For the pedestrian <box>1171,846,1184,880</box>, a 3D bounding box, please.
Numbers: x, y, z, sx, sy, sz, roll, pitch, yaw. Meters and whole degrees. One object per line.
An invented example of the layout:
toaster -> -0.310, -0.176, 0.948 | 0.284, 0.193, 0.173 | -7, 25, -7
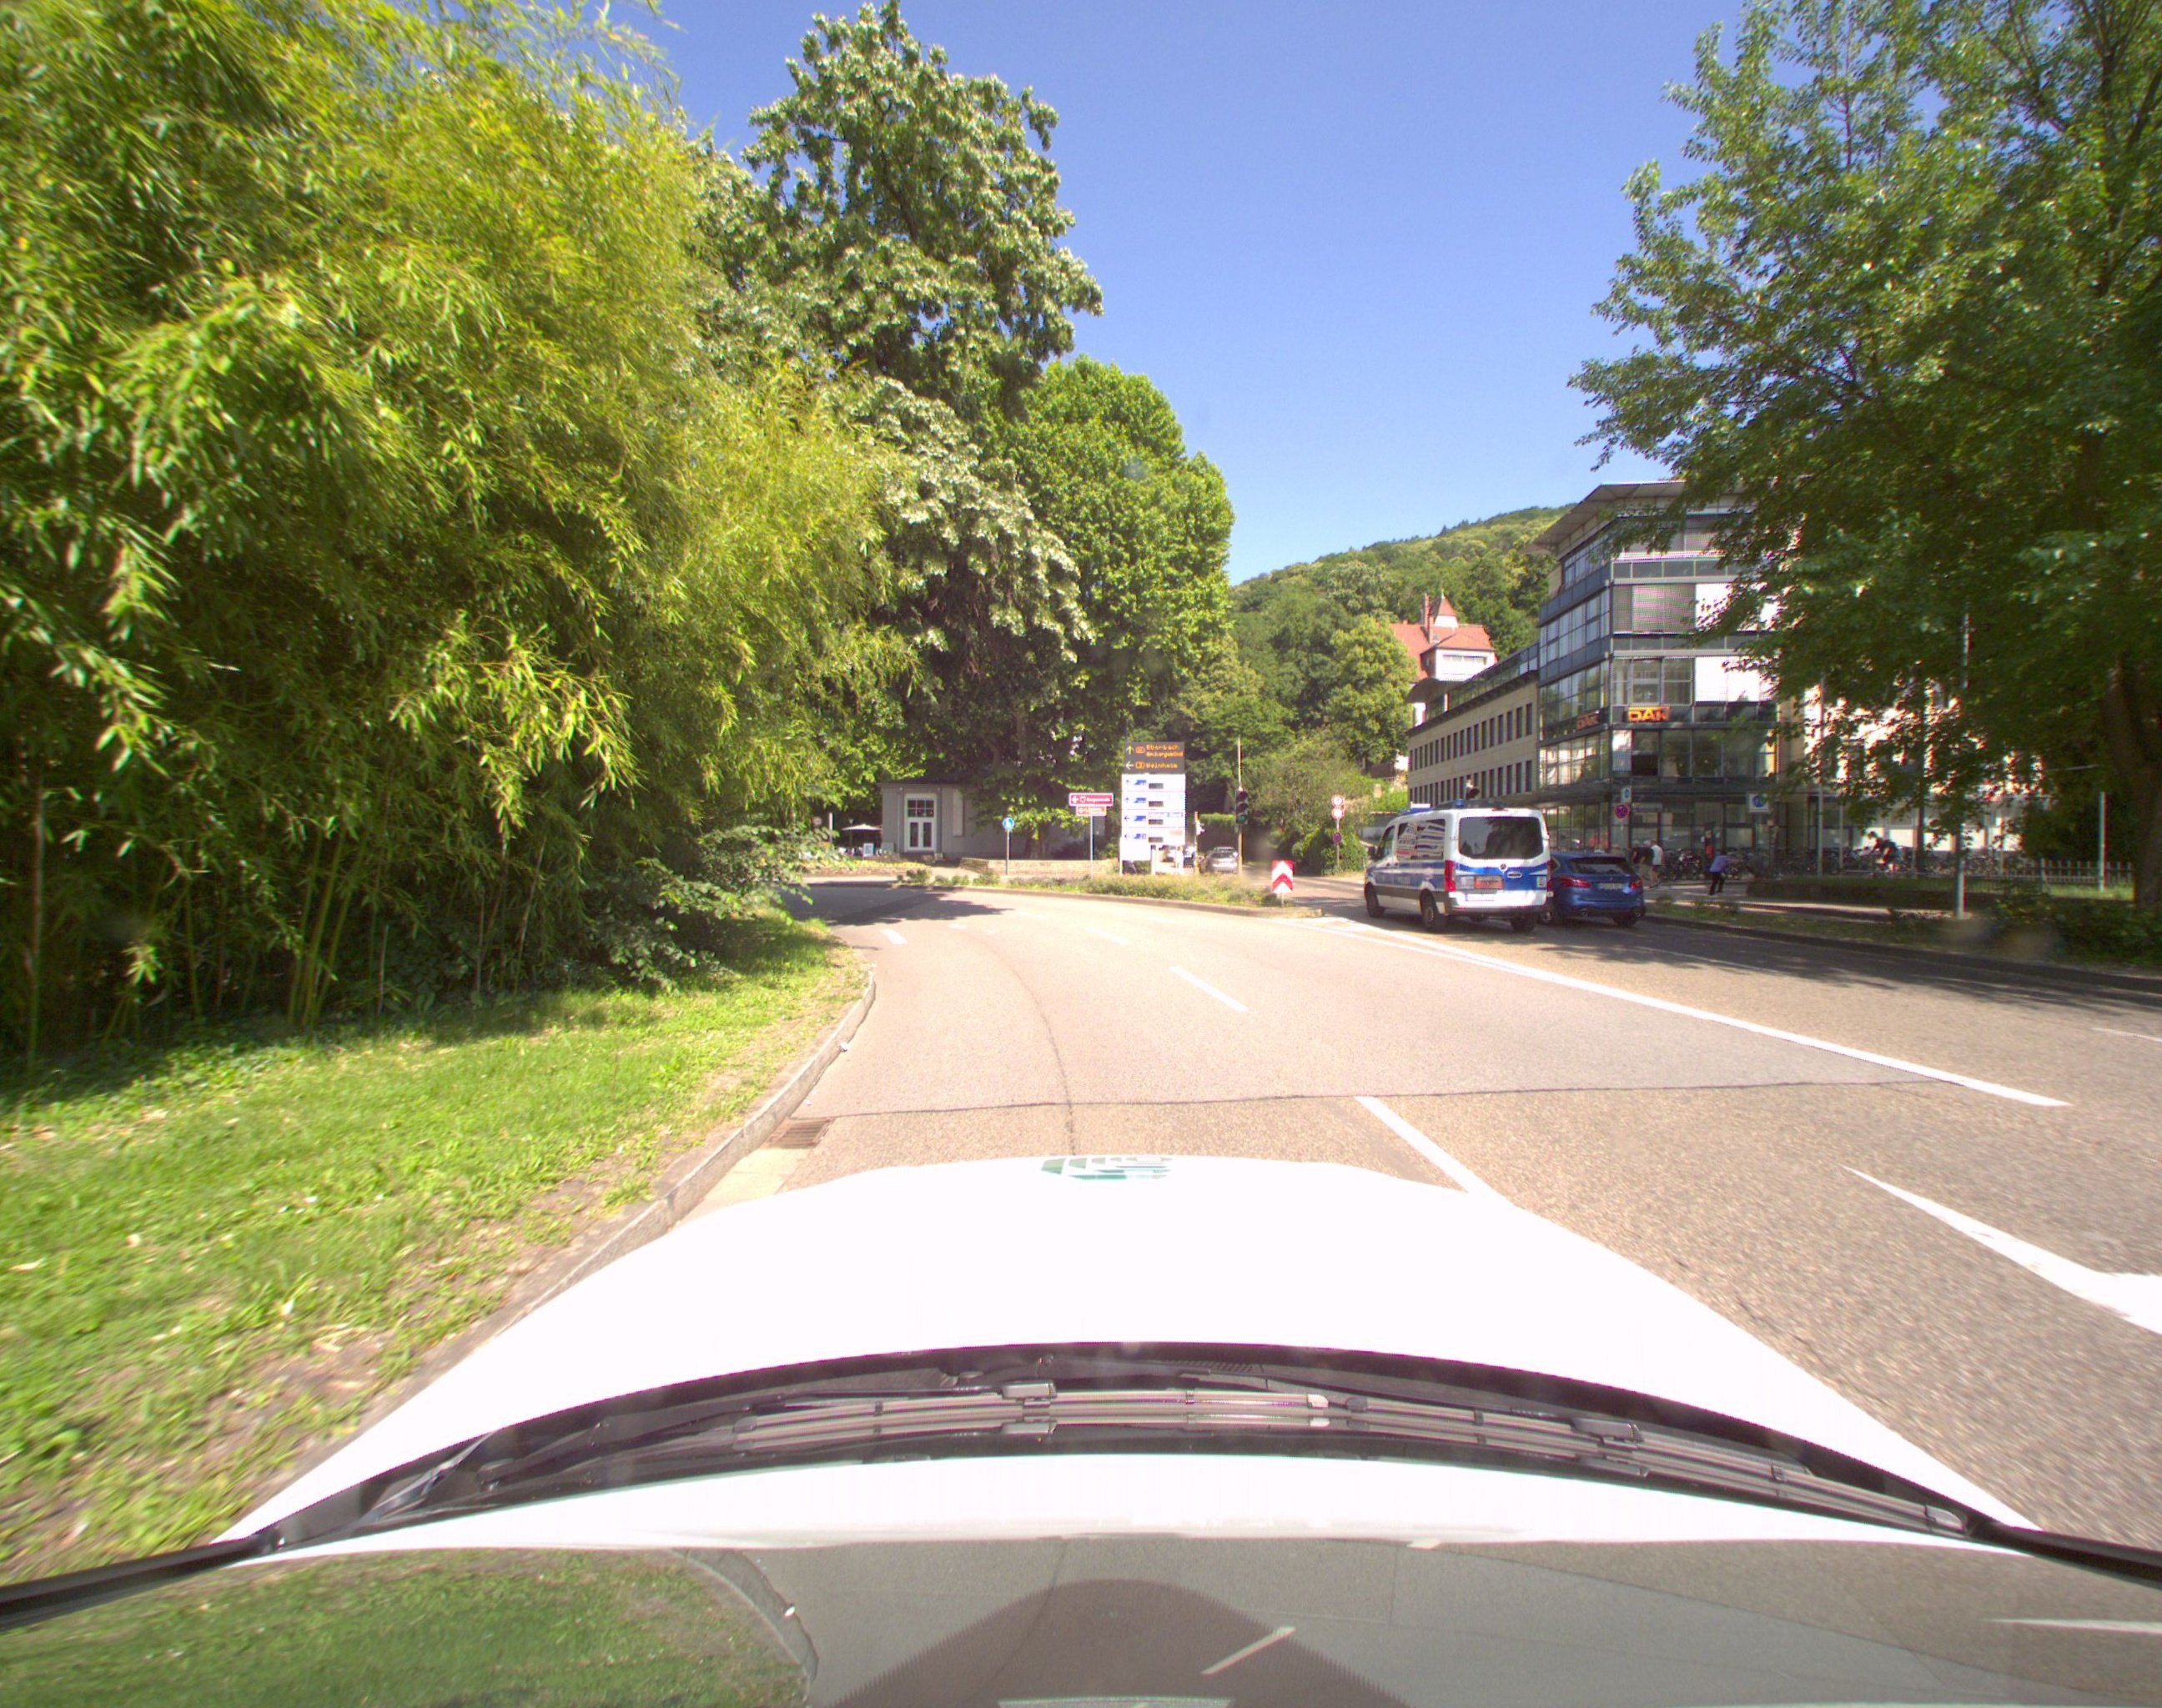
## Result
pedestrian -> 4.575, 0.423, 38.497 | 0.543, 1.621, 0.636 | 0, 1, 13

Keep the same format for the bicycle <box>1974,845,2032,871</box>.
bicycle -> 39.075, 0.156, 34.528 | 0.534, 1.085, 1.838 | -1, 0, 6

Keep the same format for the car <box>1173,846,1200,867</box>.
car -> 7.667, 0.161, 59.336 | 1.748, 1.461, 3.498 | 0, 1, 4

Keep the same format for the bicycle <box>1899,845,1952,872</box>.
bicycle -> 36.110, 0.179, 34.862 | 0.534, 1.085, 1.838 | -1, 0, 6

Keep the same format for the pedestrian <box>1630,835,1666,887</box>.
pedestrian -> 20.706, 0.241, 29.744 | 0.767, 1.854, 0.831 | 0, 0, 6

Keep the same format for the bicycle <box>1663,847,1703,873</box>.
bicycle -> 26.310, 0.256, 35.628 | 0.534, 1.085, 1.838 | -1, 0, 6

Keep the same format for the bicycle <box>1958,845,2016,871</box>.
bicycle -> 38.483, 0.161, 34.621 | 0.534, 1.085, 1.838 | -1, 0, 6

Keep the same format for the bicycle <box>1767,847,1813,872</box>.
bicycle -> 30.633, 0.222, 35.215 | 0.534, 1.085, 1.838 | -1, 0, 6

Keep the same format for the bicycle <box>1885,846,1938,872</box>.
bicycle -> 35.509, 0.184, 34.848 | 0.534, 1.085, 1.838 | -1, 0, 6

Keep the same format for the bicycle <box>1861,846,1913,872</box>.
bicycle -> 34.282, 0.194, 34.678 | 0.534, 1.085, 1.838 | -1, 0, 6

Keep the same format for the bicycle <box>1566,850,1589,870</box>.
bicycle -> 24.040, 0.296, 39.433 | 0.403, 0.941, 1.343 | -1, 1, 5

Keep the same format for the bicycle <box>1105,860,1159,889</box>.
bicycle -> 2.070, 0.808, 32.948 | 2.057, 1.112, 0.761 | 0, 0, 29

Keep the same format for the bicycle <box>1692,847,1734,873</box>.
bicycle -> 27.538, 0.247, 35.512 | 0.534, 1.085, 1.838 | -1, 0, 6

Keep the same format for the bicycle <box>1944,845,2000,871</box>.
bicycle -> 37.918, 0.165, 34.687 | 0.534, 1.085, 1.838 | -1, 0, 6

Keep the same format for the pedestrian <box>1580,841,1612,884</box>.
pedestrian -> 19.870, 0.322, 31.438 | 0.767, 1.662, 0.831 | 0, 0, 6

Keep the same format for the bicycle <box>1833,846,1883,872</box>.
bicycle -> 33.089, 0.203, 34.695 | 0.534, 1.085, 1.838 | -1, 0, 6

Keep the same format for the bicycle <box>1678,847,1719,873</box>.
bicycle -> 26.947, 0.251, 35.560 | 0.534, 1.085, 1.838 | -1, 0, 6

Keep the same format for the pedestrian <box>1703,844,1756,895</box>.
pedestrian -> 20.644, 0.480, 25.928 | 1.111, 1.580, 0.745 | -1, 0, 17

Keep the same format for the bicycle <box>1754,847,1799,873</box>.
bicycle -> 30.053, 0.227, 35.220 | 0.534, 1.085, 1.838 | -1, 0, 6

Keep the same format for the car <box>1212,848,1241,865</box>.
car -> 10.973, 0.170, 61.614 | 1.748, 1.213, 3.498 | 0, 1, 4

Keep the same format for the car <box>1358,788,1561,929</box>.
car -> 7.595, 0.076, 17.010 | 2.065, 2.508, 4.931 | 1, 0, 1

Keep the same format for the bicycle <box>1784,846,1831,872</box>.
bicycle -> 31.193, 0.218, 34.972 | 0.534, 1.085, 1.838 | -1, 0, 6

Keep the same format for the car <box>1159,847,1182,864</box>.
car -> 7.653, 0.100, 69.956 | 1.748, 1.461, 3.650 | 0, 1, 4

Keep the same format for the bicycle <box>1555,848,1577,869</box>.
bicycle -> 24.402, 0.236, 40.955 | 0.403, 1.012, 1.343 | -1, 1, 5

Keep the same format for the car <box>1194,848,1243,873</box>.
car -> 7.611, 0.320, 45.290 | 1.754, 1.334, 3.794 | 0, 1, -6

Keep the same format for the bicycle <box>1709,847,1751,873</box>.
bicycle -> 28.141, 0.242, 35.346 | 0.534, 1.085, 1.838 | -1, 0, 6

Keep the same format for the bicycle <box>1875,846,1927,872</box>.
bicycle -> 34.900, 0.189, 34.700 | 0.534, 1.085, 1.838 | -1, 0, 6

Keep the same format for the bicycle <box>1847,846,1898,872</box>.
bicycle -> 33.681, 0.198, 34.680 | 0.534, 1.085, 1.838 | -1, 0, 6

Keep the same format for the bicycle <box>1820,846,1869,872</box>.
bicycle -> 32.483, 0.208, 34.676 | 0.534, 1.085, 1.838 | -1, 0, 6

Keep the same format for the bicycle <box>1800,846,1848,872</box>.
bicycle -> 31.835, 0.213, 34.923 | 0.534, 1.085, 1.838 | -1, 0, 6

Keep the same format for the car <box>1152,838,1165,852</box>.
car -> 10.933, -1.270, 115.738 | 1.748, 1.938, 3.498 | 0, 1, 4

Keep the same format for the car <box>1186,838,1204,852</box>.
car -> 12.426, -0.967, 89.014 | 1.748, 1.461, 3.650 | 0, 1, 4

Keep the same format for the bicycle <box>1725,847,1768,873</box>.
bicycle -> 28.814, 0.237, 35.294 | 0.534, 1.085, 1.838 | -1, 0, 6

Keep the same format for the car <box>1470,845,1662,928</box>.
car -> 10.485, 0.614, 18.030 | 1.713, 1.541, 4.271 | 1, 1, 0

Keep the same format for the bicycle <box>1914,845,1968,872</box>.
bicycle -> 36.722, 0.175, 34.797 | 0.534, 1.085, 1.838 | -1, 0, 6

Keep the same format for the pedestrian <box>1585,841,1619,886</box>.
pedestrian -> 19.617, 0.347, 30.670 | 0.767, 1.662, 0.830 | 0, 0, 5

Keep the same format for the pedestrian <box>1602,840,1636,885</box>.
pedestrian -> 20.266, 0.325, 30.685 | 0.766, 1.662, 0.831 | 0, 0, 9

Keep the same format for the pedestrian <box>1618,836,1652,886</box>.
pedestrian -> 20.815, 0.256, 30.626 | 0.767, 1.854, 0.831 | 0, 0, 6

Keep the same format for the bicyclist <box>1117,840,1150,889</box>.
bicyclist -> 2.110, 0.413, 32.913 | 1.115, 1.932, 0.753 | 0, 0, 29
